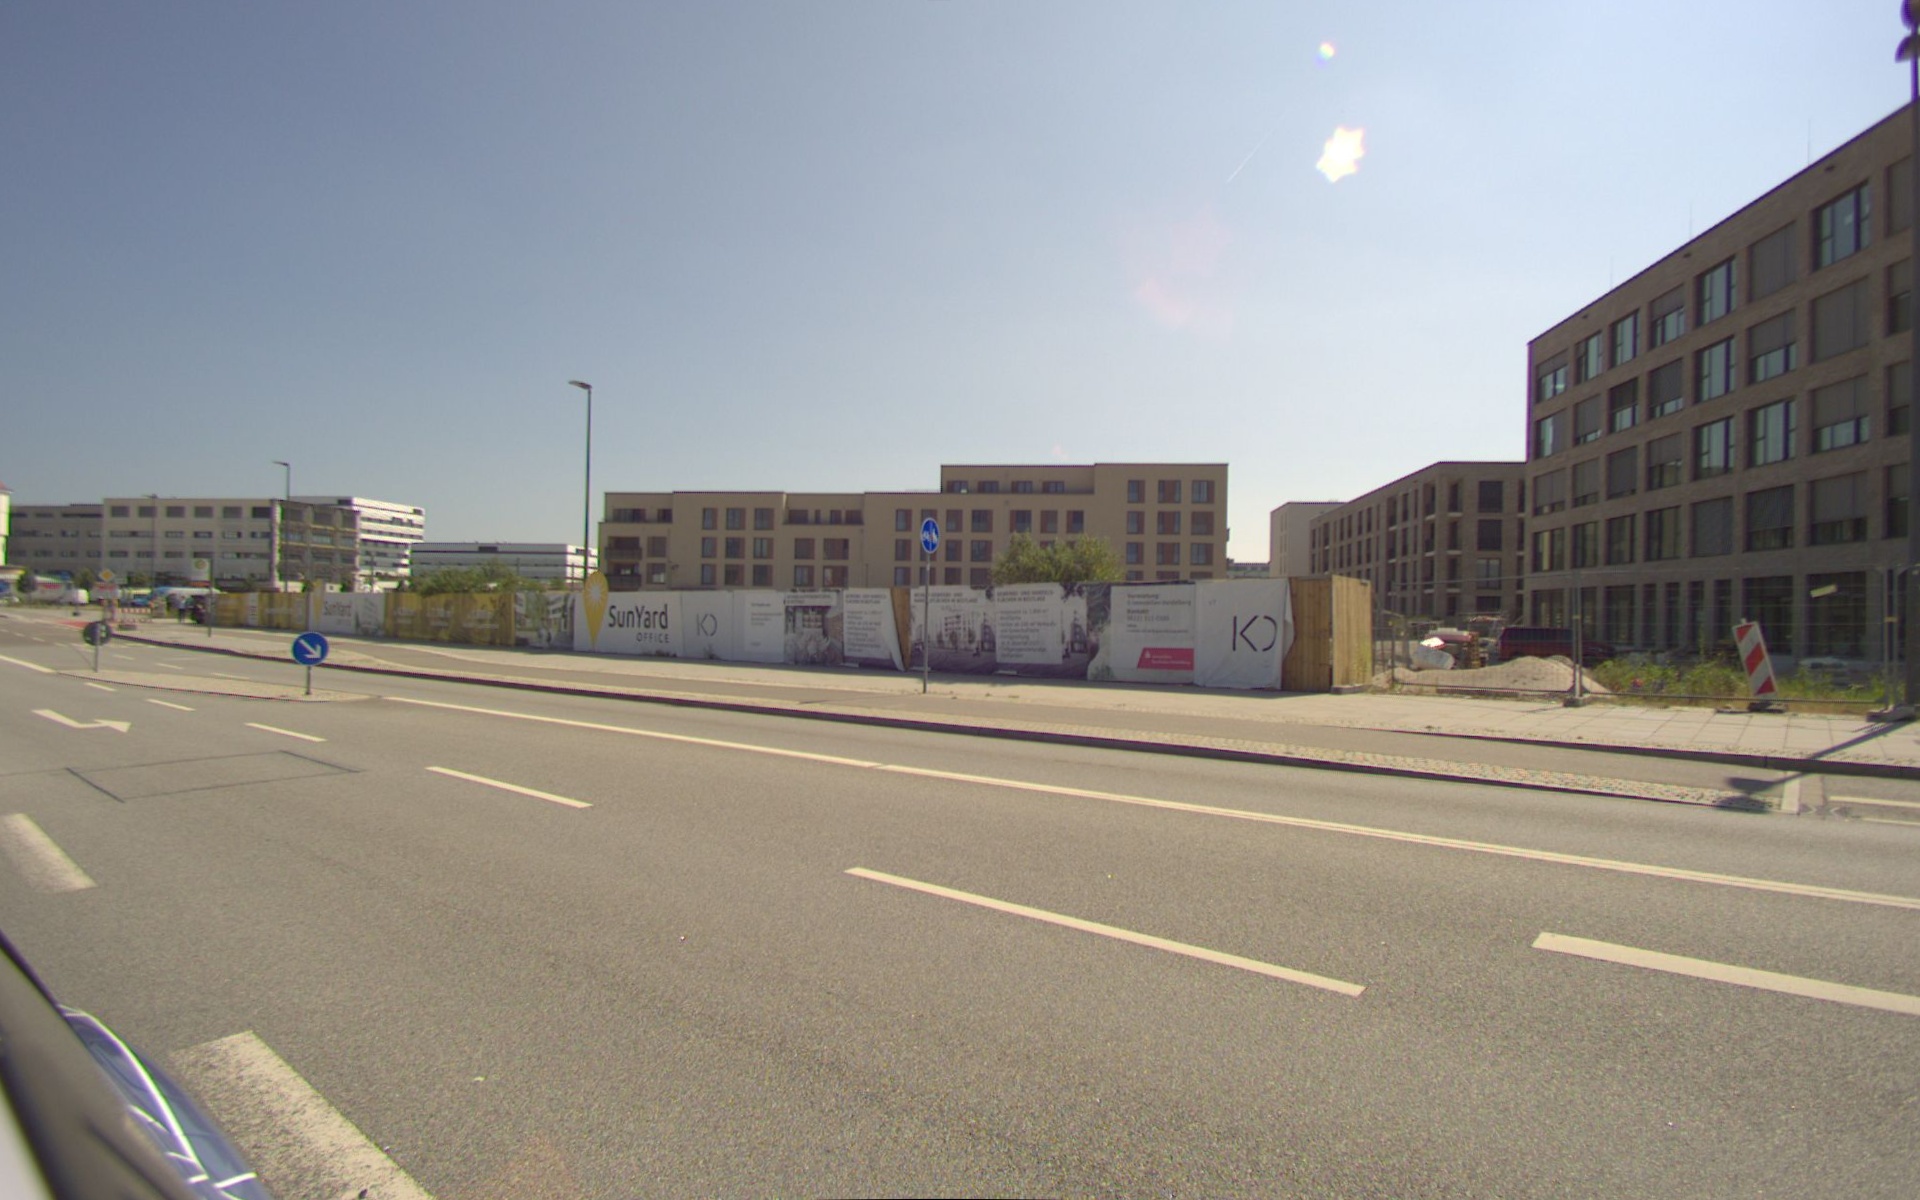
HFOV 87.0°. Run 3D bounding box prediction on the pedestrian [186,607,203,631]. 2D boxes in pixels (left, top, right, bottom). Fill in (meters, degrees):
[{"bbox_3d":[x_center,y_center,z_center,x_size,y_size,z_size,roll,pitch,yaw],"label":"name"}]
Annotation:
[{"bbox_3d":[-51.850,1.270,68.518,0.610,1.598,0.703,-1,0,5],"label":"pedestrian"}]
